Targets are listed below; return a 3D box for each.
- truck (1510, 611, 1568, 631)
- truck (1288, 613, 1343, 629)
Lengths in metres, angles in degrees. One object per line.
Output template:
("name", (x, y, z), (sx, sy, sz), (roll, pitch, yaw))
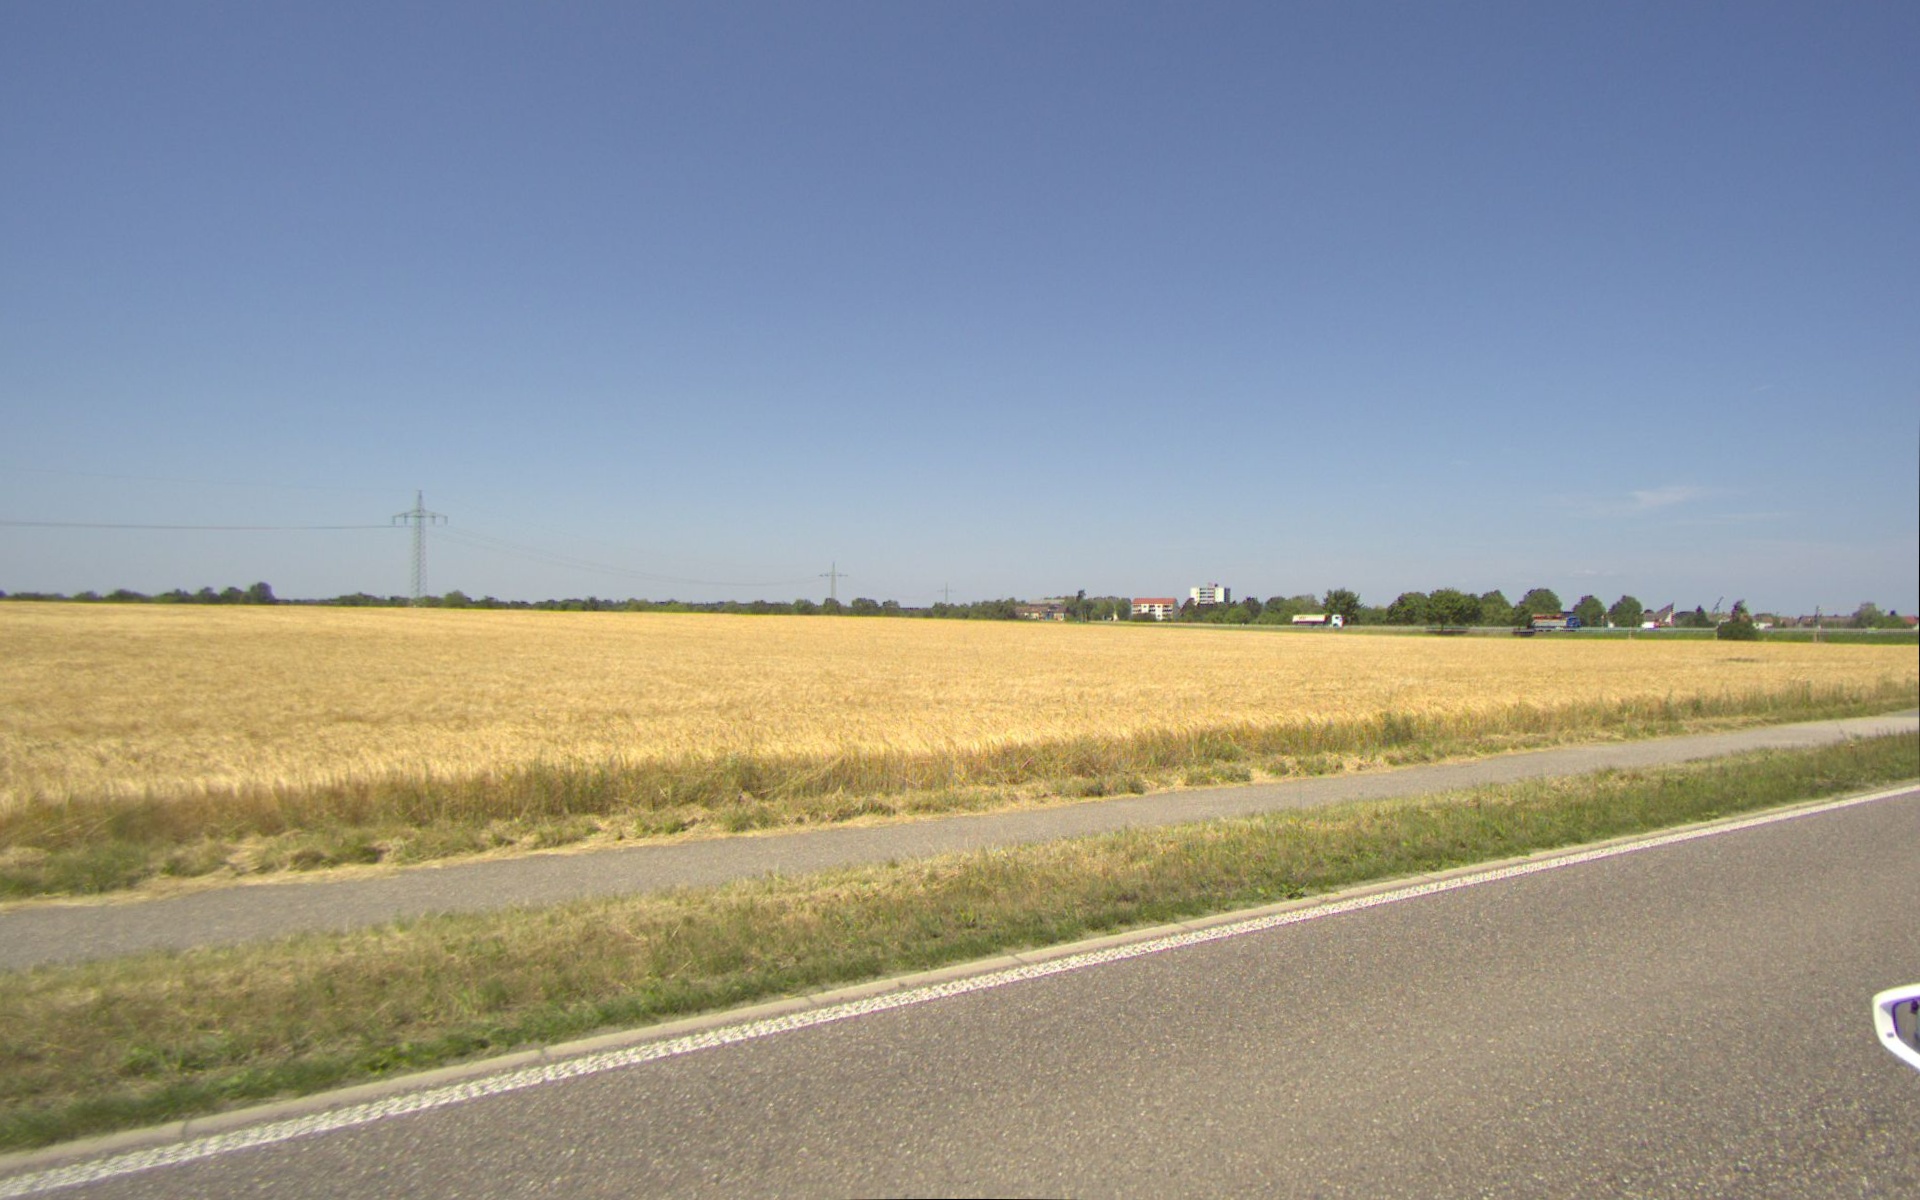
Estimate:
("truck", (119.300, 4.385, 207.155), (2.609, 3.844, 9.978), (0, 0, -45))
("truck", (84.586, 4.929, 239.139), (11.833, 3.663, 2.972), (1, 0, 36))
